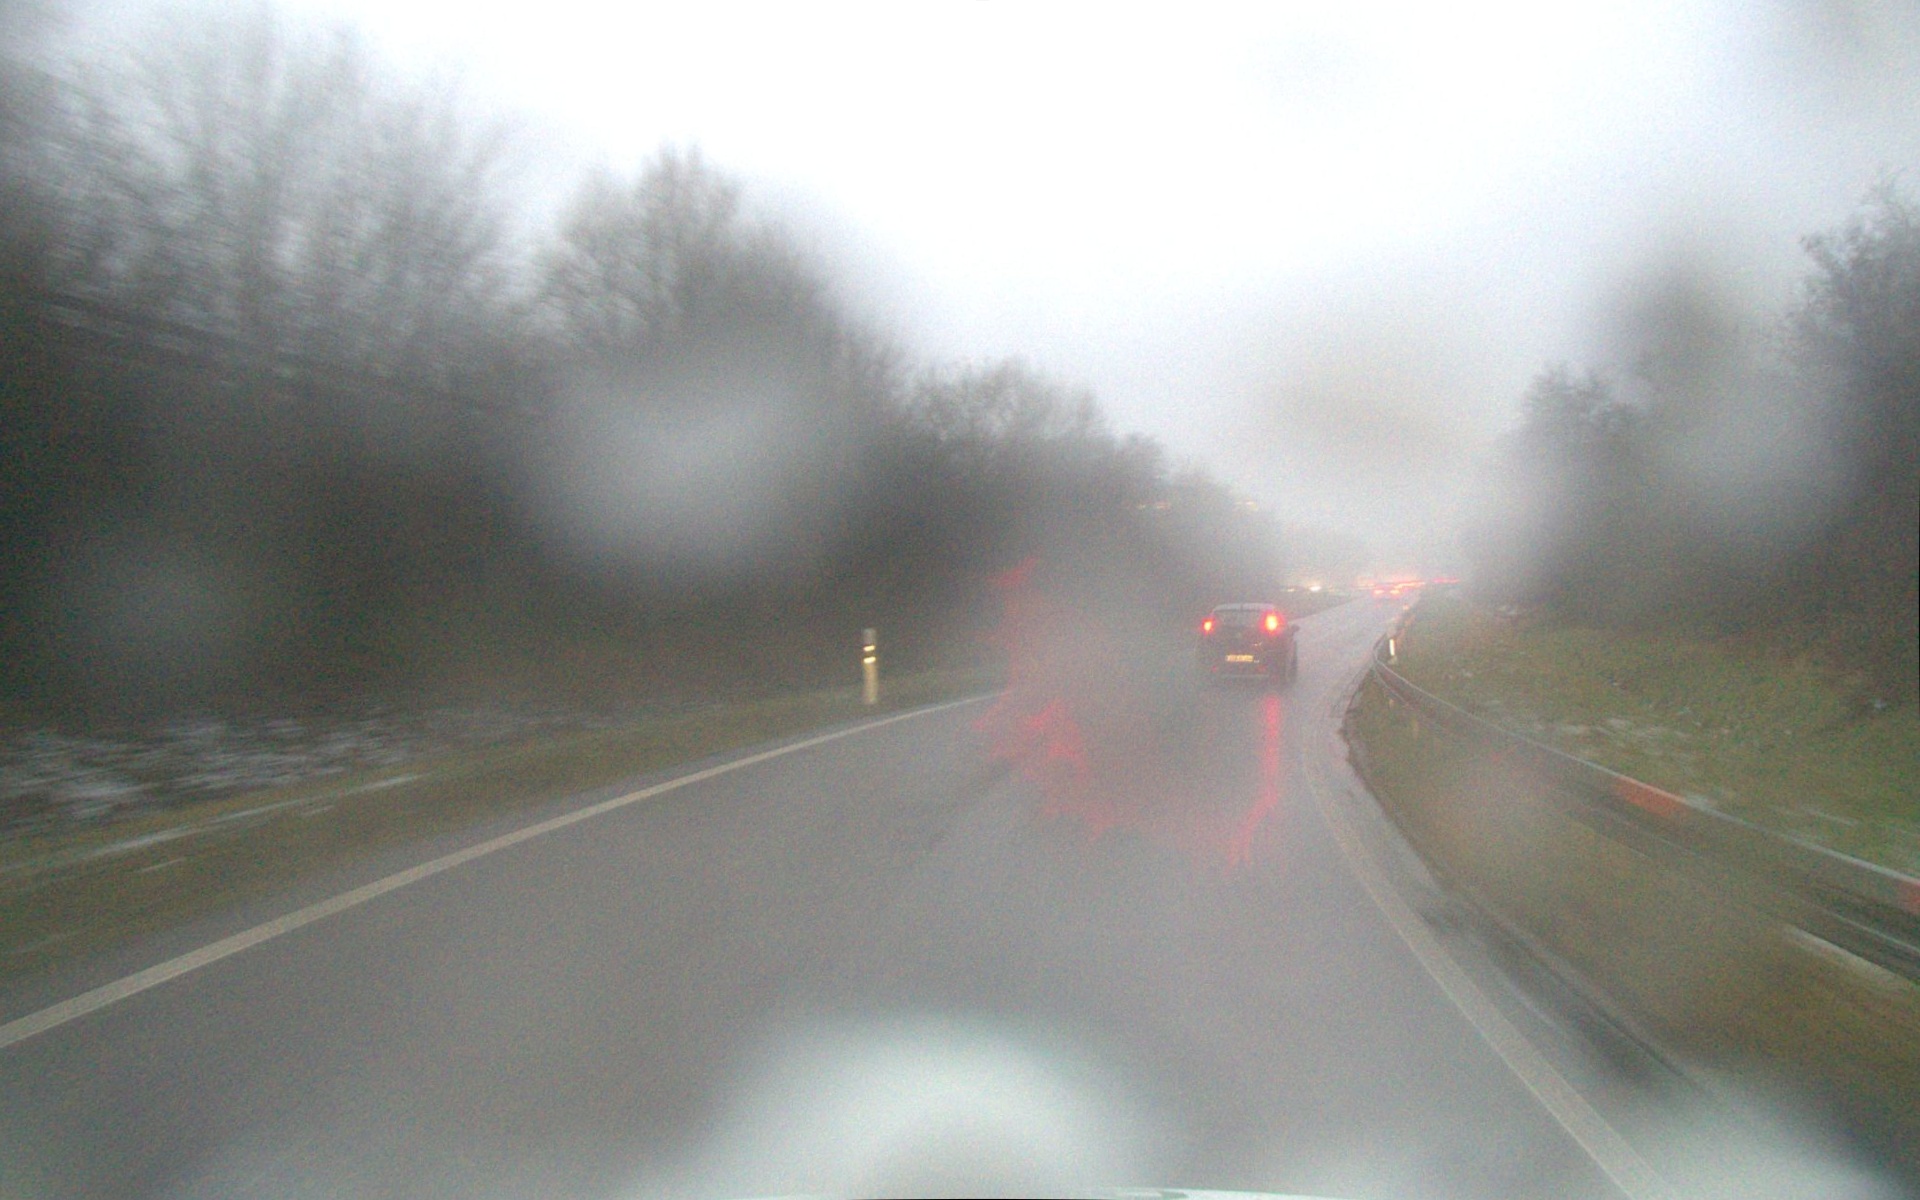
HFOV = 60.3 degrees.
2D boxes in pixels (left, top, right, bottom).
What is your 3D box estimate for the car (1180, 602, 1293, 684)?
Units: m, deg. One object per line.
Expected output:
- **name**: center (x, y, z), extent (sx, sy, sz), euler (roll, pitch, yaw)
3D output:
- **car**: center (5.375, 0.796, 31.825), extent (1.695, 1.454, 3.767), euler (1, 0, 16)
